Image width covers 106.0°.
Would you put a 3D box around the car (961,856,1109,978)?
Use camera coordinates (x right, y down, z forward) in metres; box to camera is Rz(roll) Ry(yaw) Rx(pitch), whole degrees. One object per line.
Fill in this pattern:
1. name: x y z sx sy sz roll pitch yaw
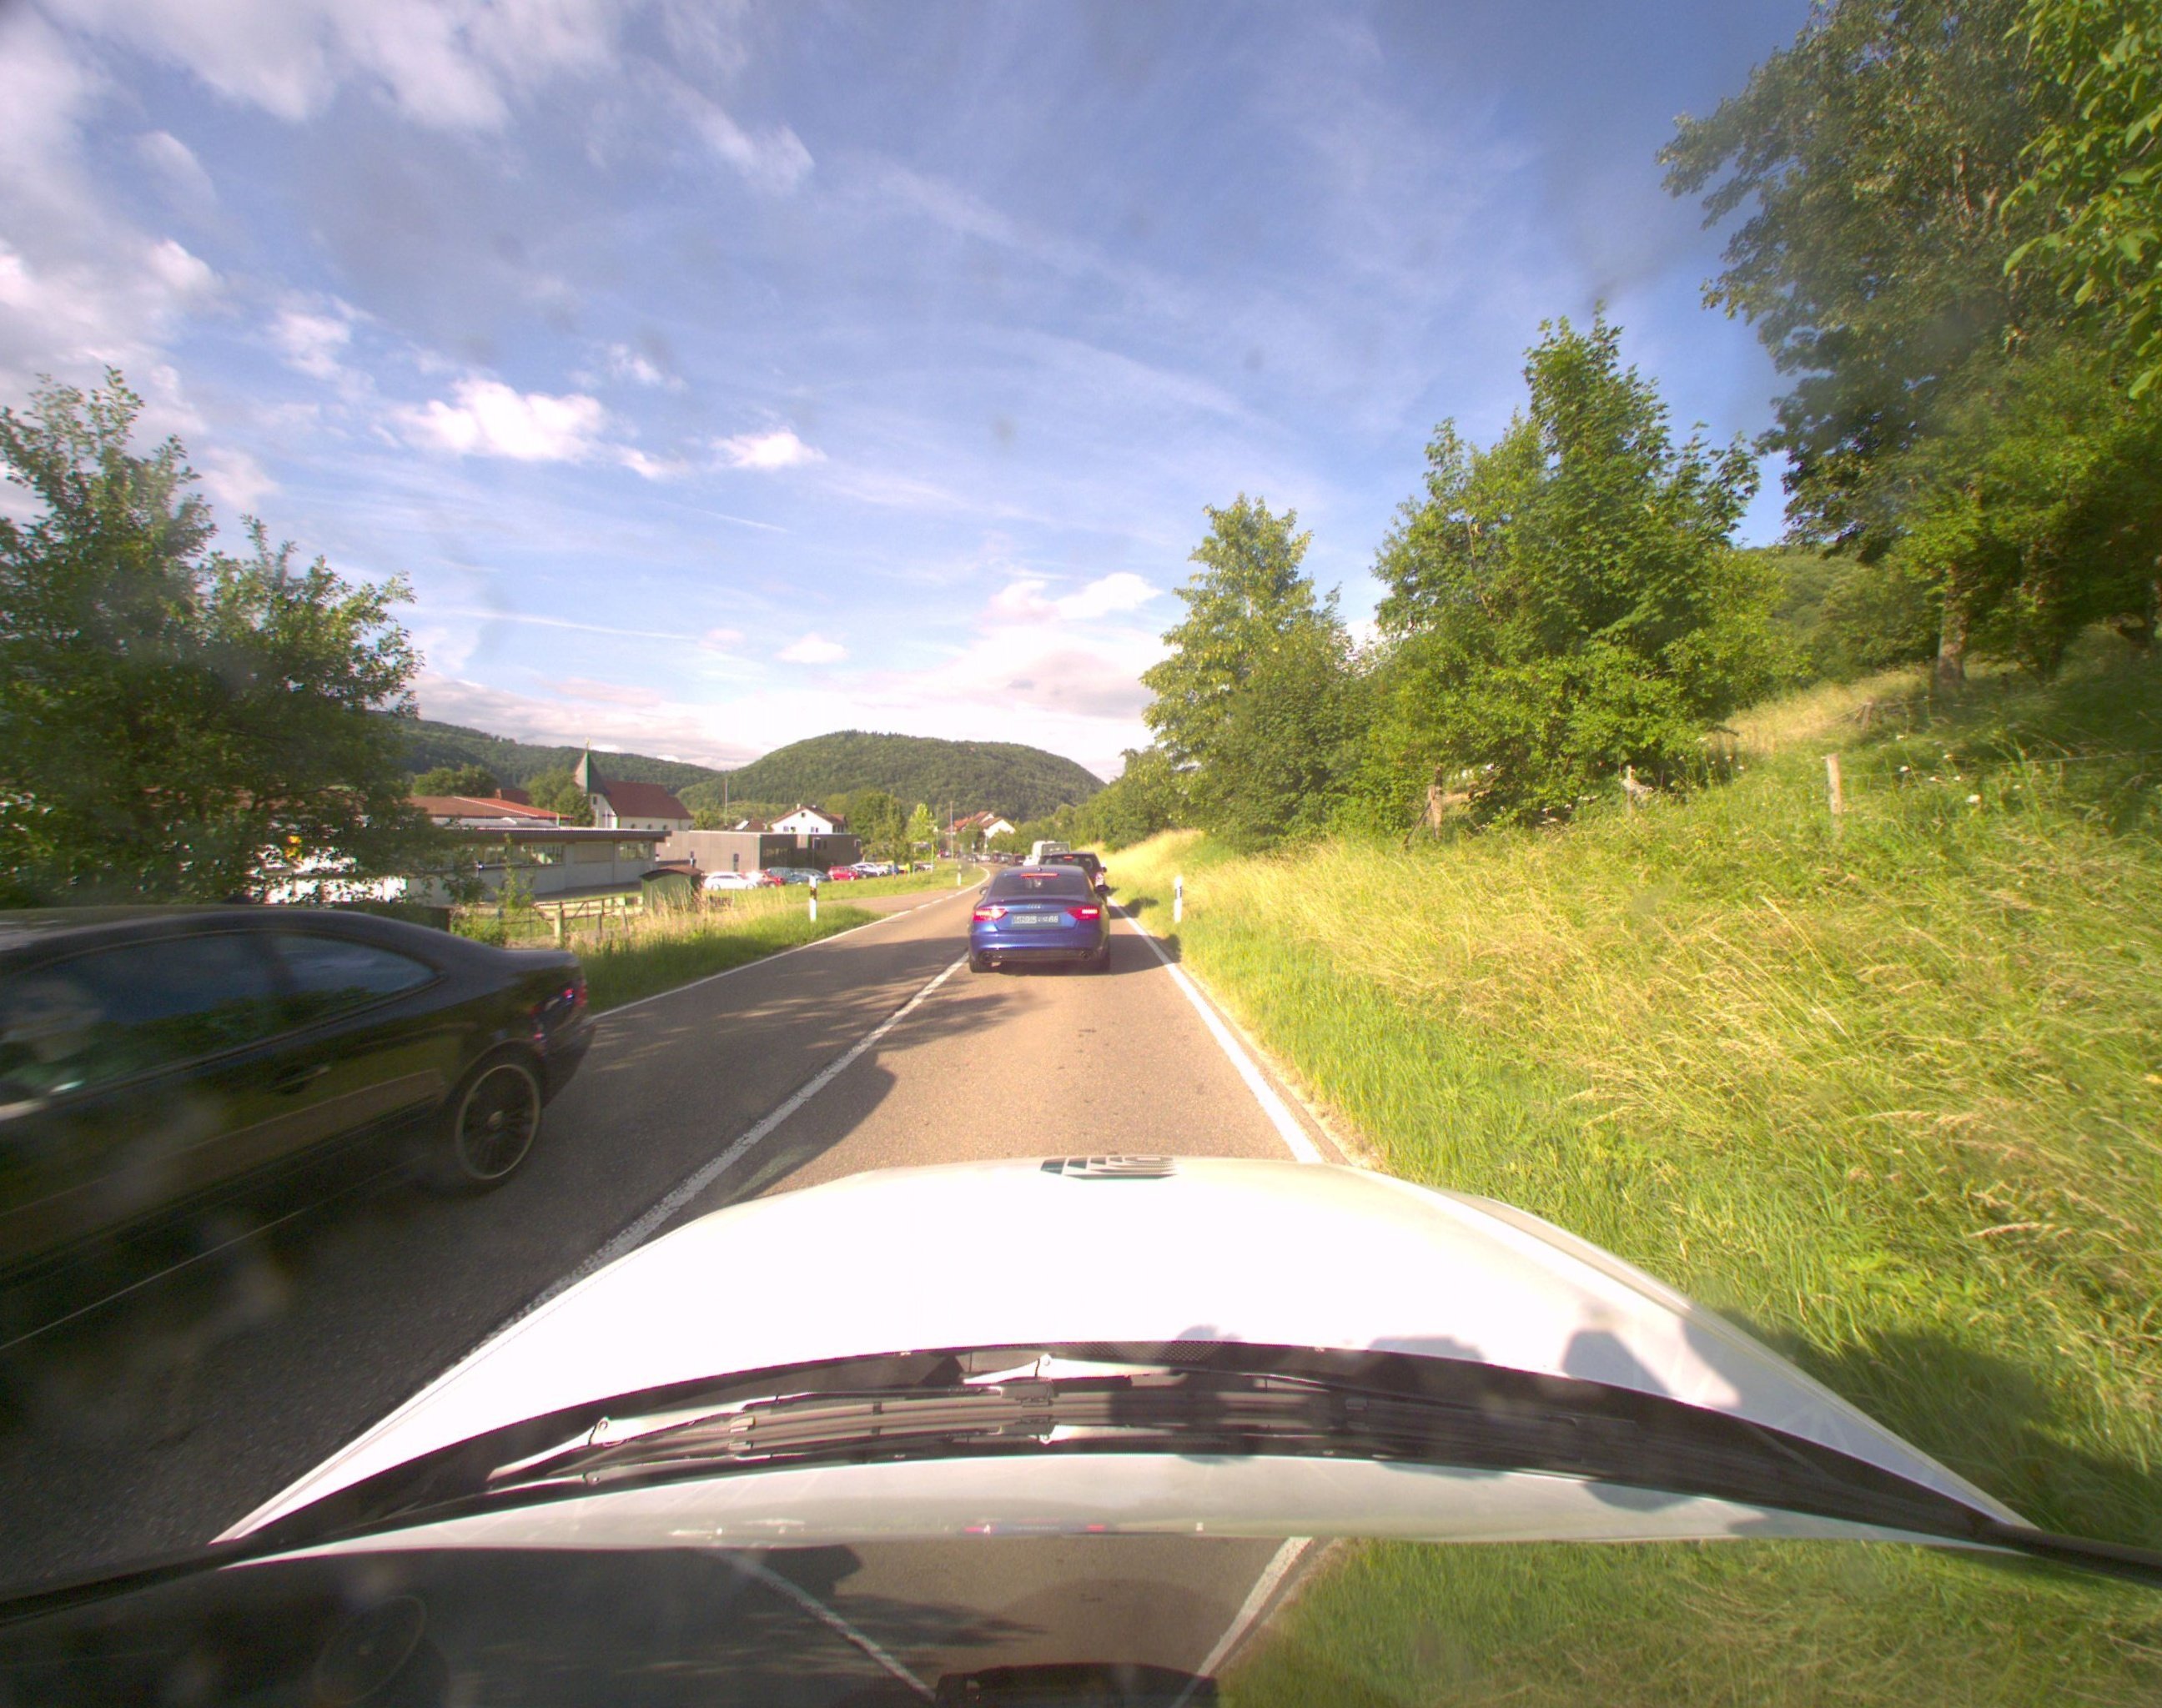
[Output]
1. car: -0.511 0.766 11.588 1.748 1.430 3.847 -1 -1 1

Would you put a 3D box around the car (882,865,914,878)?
1. car: -24.823 2.355 110.527 3.977 1.711 1.998 0 -1 -3

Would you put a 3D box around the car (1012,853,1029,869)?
1. car: -6.763 0.747 90.322 1.843 1.712 3.992 0 -1 -5

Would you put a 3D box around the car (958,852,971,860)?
1. car: -23.398 0.405 163.160 1.851 1.712 3.975 0 -1 -18

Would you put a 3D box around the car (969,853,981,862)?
1. car: -17.030 0.621 130.716 1.705 1.430 4.034 0 -1 -11

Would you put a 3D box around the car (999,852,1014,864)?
1. car: -10.723 0.579 117.228 1.846 1.712 3.985 0 -1 -10

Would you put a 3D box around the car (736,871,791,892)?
1. car: -27.300 2.367 70.117 3.977 1.711 1.998 0 -1 -3

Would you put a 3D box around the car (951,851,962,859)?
1. car: -27.212 0.275 177.964 1.851 1.712 3.975 0 -1 -18

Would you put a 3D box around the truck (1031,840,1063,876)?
1. truck: -2.649 0.335 62.124 2.225 2.570 6.698 0 -1 -4

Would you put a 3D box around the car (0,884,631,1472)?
1. car: -3.426 0.839 2.621 1.589 1.354 4.203 -1 -1 0

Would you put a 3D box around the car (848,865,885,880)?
1. car: -26.038 2.268 98.940 3.977 1.711 1.998 0 -1 -3

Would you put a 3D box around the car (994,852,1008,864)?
1. car: -12.314 0.616 124.767 1.846 1.712 3.985 0 -1 -10

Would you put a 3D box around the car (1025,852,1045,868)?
1. car: -4.440 0.625 78.337 1.843 1.482 3.992 0 -1 -5

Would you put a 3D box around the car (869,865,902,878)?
1. car: -25.880 2.343 108.011 3.977 1.711 1.998 0 -1 -3

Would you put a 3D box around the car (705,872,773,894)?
1. car: -28.046 2.347 66.973 4.719 1.711 1.998 -1 -1 -3

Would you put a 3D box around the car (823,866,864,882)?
1. car: -26.459 2.203 90.706 3.977 1.711 1.998 0 -1 -3

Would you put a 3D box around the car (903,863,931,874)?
1. car: -25.152 2.238 125.020 3.977 1.579 1.751 0 -1 -3

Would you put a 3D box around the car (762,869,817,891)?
1. car: -27.111 2.414 75.923 4.396 2.008 1.998 0 -1 -3

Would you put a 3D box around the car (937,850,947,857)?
1. car: -33.645 -0.187 196.646 1.851 1.712 3.975 0 -1 -18

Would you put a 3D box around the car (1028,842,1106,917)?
1. car: -0.274 0.589 20.334 1.748 1.681 3.847 -1 -1 1

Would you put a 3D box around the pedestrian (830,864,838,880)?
1. pedestrian: -31.870 2.322 105.124 0.822 2.014 0.973 0 -1 0

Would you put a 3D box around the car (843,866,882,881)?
1. car: -25.560 2.233 95.288 3.977 1.711 1.998 0 -1 -3

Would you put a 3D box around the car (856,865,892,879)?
1. car: -25.938 2.295 102.224 3.977 1.711 1.998 0 -1 -3

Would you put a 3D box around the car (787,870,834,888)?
1. car: -26.504 2.442 79.970 3.977 1.711 1.998 0 -1 -3

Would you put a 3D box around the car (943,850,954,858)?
1. car: -30.543 0.020 187.371 1.851 1.712 3.975 0 -1 -18

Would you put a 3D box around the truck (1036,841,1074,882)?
1. truck: -1.652 0.477 53.966 2.222 2.570 6.104 -1 -1 1

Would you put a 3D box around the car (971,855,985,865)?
1. car: -18.968 1.090 150.249 1.851 1.712 3.975 0 -1 -18

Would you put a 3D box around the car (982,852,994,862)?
1. car: -15.658 0.505 136.875 1.846 1.712 3.985 0 -1 -10
